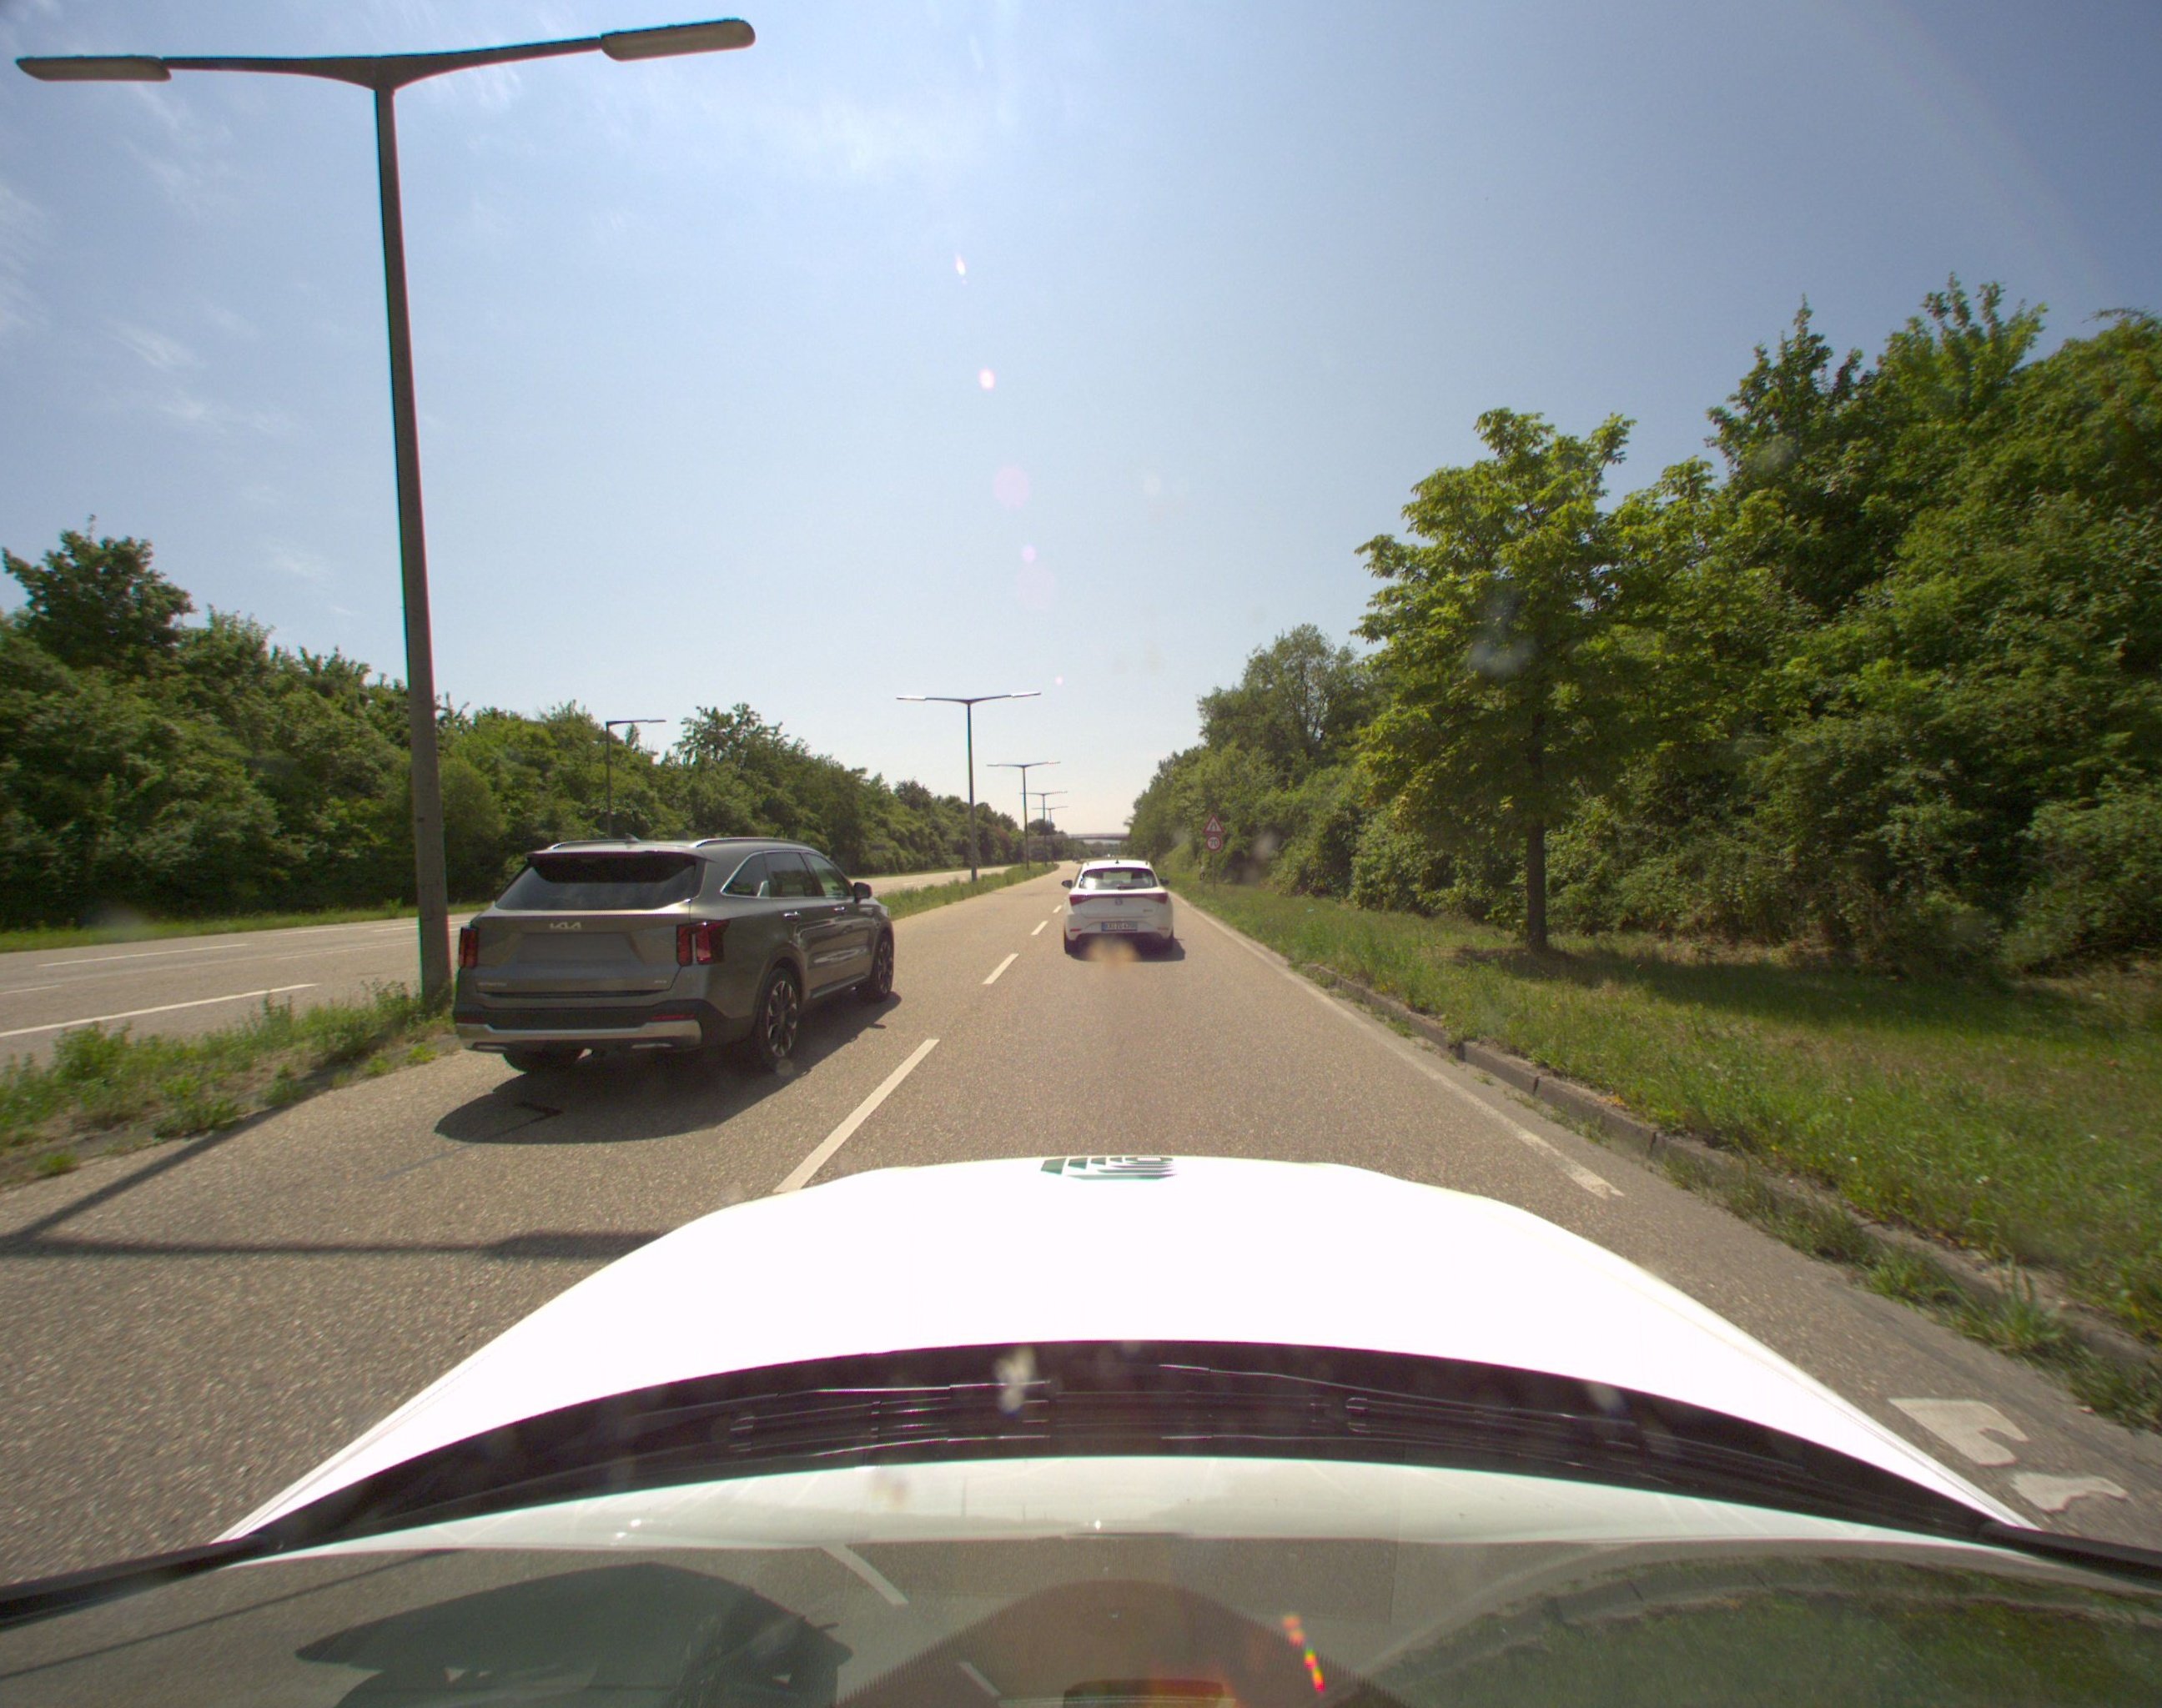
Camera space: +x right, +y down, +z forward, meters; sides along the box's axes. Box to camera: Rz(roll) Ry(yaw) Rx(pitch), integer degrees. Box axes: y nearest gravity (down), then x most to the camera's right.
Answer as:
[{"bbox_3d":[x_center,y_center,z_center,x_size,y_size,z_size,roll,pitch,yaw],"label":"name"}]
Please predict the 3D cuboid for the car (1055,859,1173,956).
[{"bbox_3d":[0.572,0.803,13.780,1.727,1.428,3.697,0,-1,3],"label":"car"}]

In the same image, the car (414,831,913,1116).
[{"bbox_3d":[-2.990,0.725,7.197,1.796,1.662,4.647,-2,0,3],"label":"car"}]

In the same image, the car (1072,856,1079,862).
[{"bbox_3d":[-1.615,1.398,248.842,1.851,1.709,3.995,-2,0,-3],"label":"car"}]
